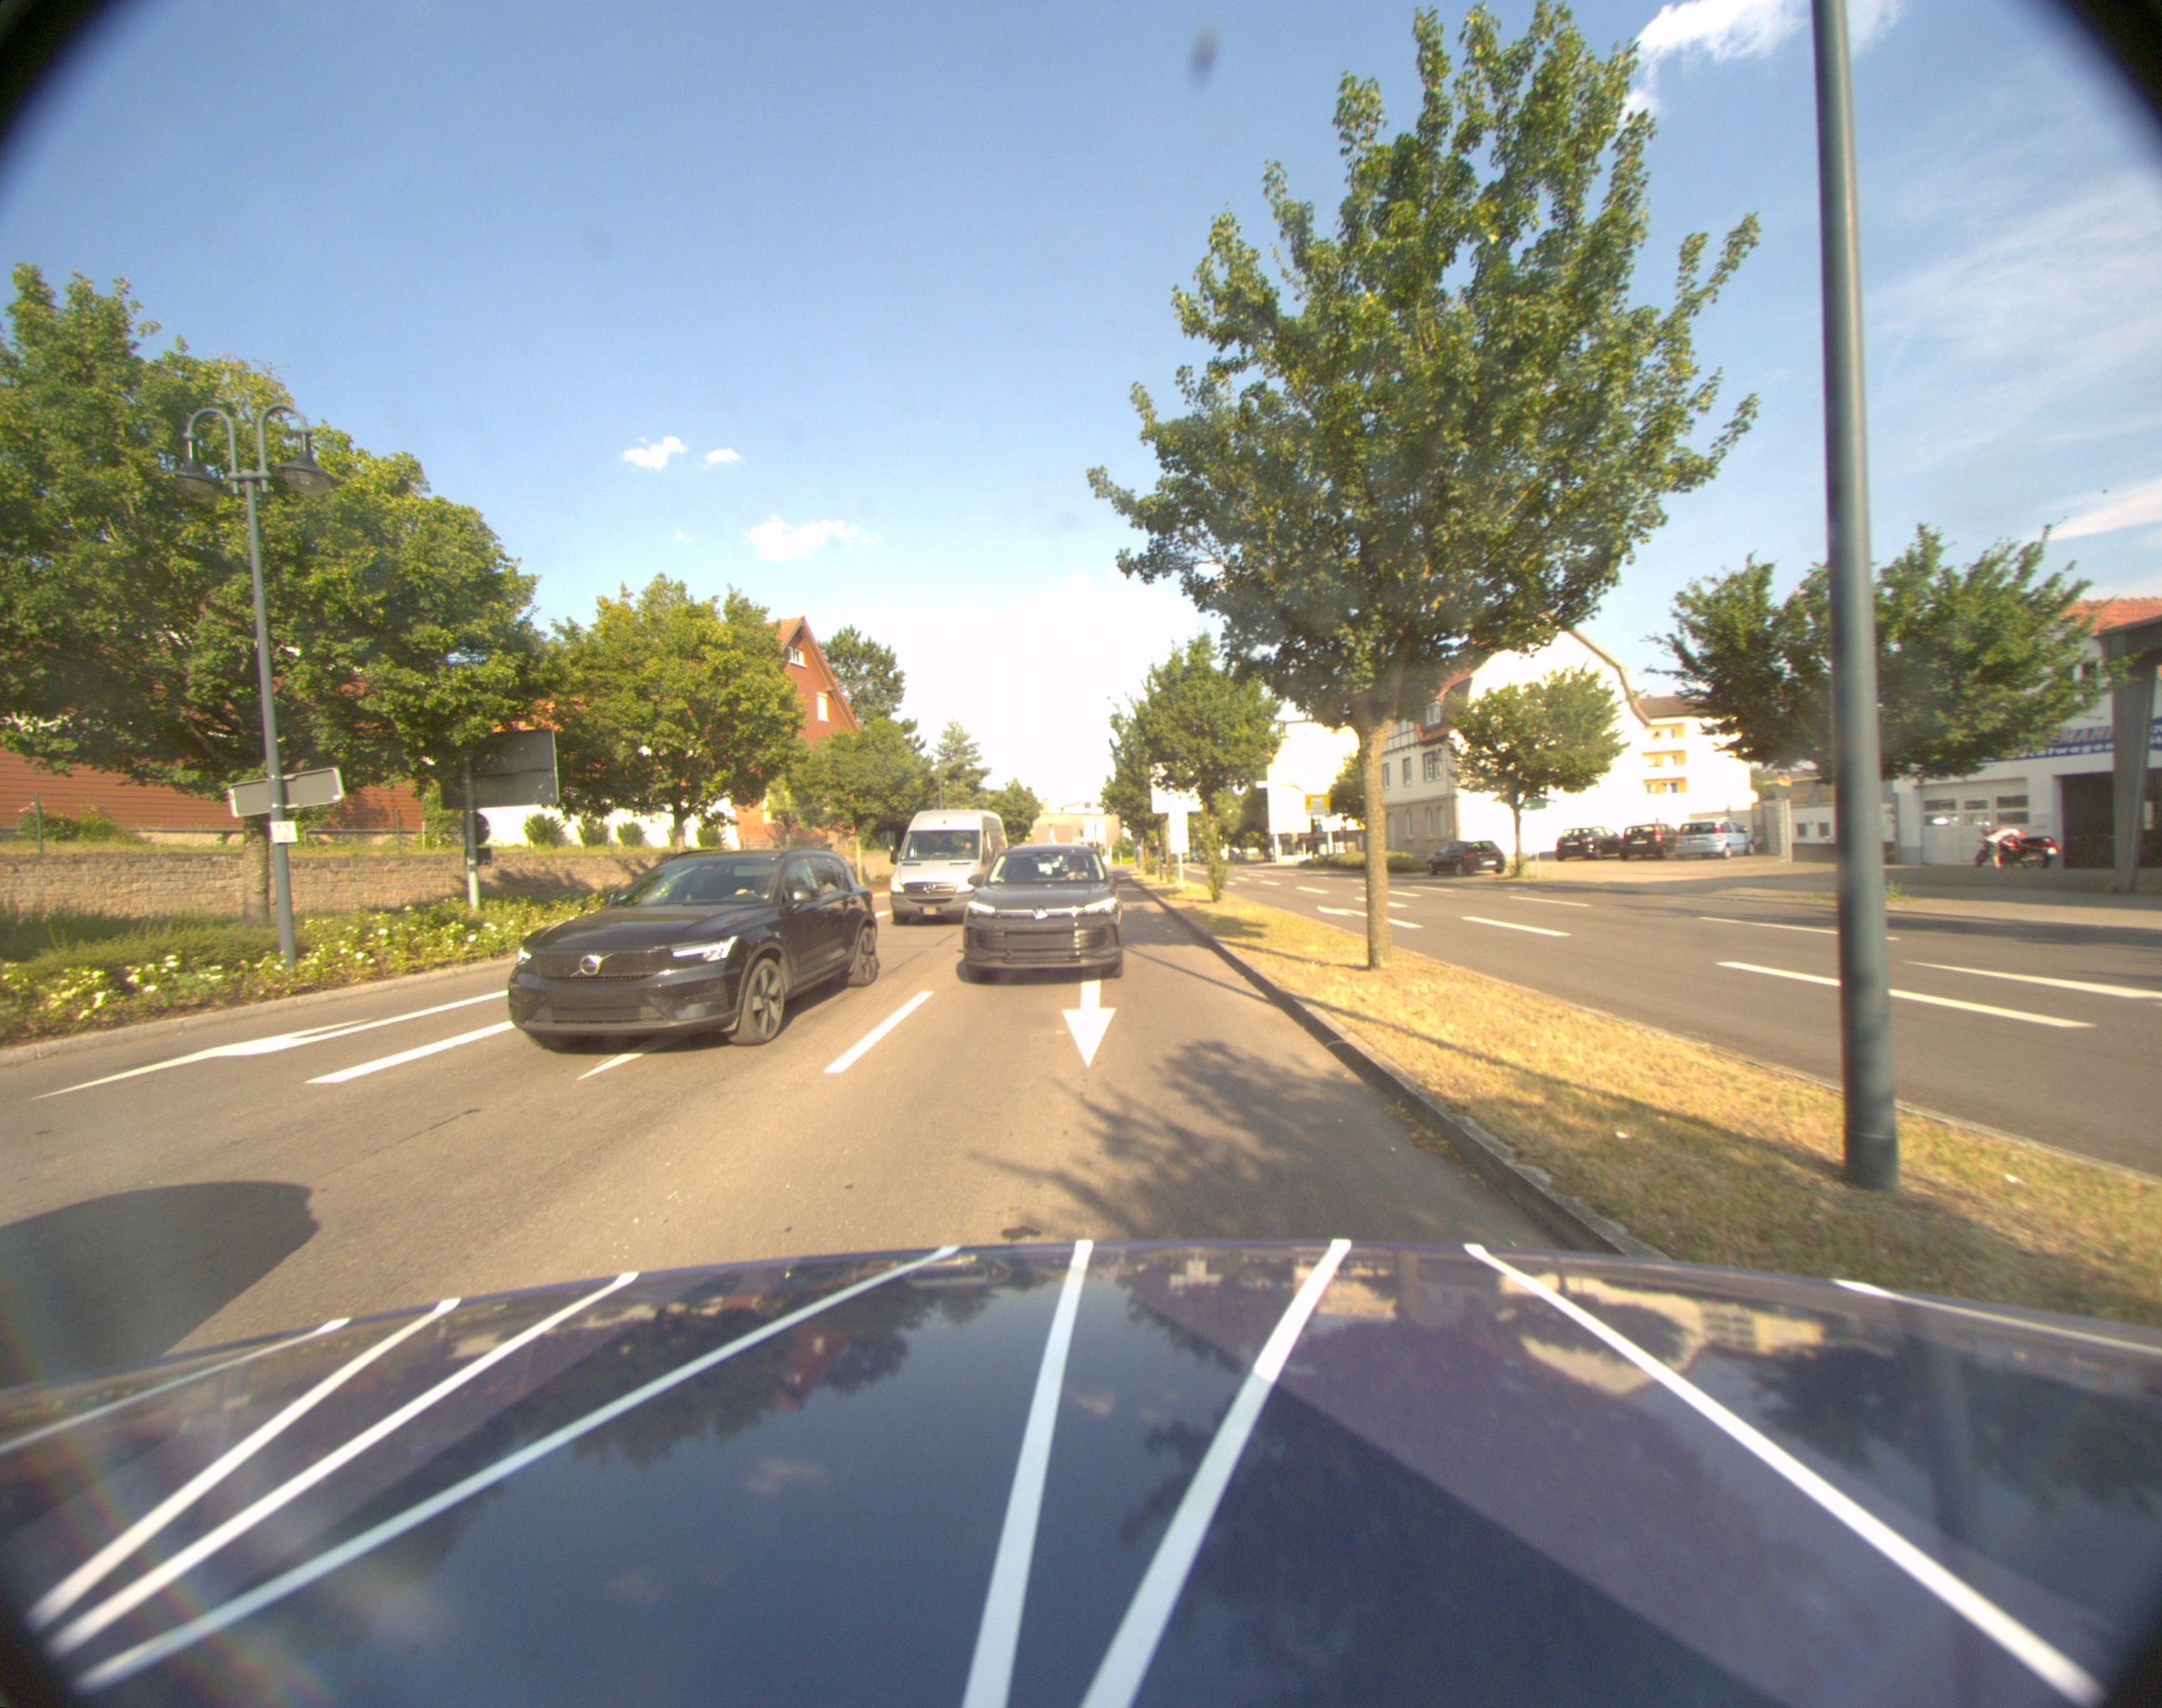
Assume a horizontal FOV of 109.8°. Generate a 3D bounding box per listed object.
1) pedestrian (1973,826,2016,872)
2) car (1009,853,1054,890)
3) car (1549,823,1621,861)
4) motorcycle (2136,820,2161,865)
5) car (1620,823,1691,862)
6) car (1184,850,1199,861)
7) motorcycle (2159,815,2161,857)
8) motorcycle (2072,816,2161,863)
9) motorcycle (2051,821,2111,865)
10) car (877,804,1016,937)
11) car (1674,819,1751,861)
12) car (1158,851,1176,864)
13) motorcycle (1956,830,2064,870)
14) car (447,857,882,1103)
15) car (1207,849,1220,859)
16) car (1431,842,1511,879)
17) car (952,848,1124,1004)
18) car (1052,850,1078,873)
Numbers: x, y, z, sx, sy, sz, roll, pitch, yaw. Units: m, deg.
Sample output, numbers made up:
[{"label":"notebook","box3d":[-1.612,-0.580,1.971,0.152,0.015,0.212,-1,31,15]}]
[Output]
[{"label":"pedestrian","box3d":[27.295,-0.151,22.710,0.596,1.332,0.584,-2,1,-7]},{"label":"car","box3d":[-2.357,0.818,36.875,1.768,1.582,4.056,-2,1,1]},{"label":"car","box3d":[22.999,-0.567,34.646,3.416,1.616,1.857,-3,1,-40]},{"label":"motorcycle","box3d":[32.732,-0.379,22.832,2.120,1.315,0.488,-2,0,-16]},{"label":"car","box3d":[24.641,-0.510,32.560,3.437,1.555,1.583,-2,1,-38]},{"label":"car","box3d":[21.451,0.232,147.140,1.816,2.002,4.006,-1,1,25]},{"label":"motorcycle","box3d":[35.135,-0.617,23.884,2.119,1.315,0.488,-2,0,-8]},{"label":"motorcycle","box3d":[30.529,-0.423,22.098,2.114,1.315,0.489,-2,0,22]},{"label":"motorcycle","box3d":[31.845,-0.356,24.186,2.120,1.315,0.488,-2,0,-19]},{"label":"car","box3d":[-3.033,0.298,18.905,2.040,2.643,6.649,-2,1,1]},{"label":"car","box3d":[24.702,-0.545,29.692,3.438,1.534,1.617,-2,1,-38]},{"label":"car","box3d":[13.290,0.560,117.121,1.814,1.861,4.005,-2,1,20]},{"label":"motorcycle","box3d":[27.769,-0.102,22.774,0.488,1.139,2.118,-2,0,-6]},{"label":"car","box3d":[-3.398,0.879,7.255,1.792,1.596,4.056,-2,1,1]},{"label":"car","box3d":[27.406,-0.025,156.813,1.996,2.002,4.005,-2,1,20]},{"label":"car","box3d":[16.033,0.227,31.428,1.672,1.310,3.432,-5,1,4]},{"label":"car","box3d":[-0.413,0.752,10.077,1.768,1.582,4.056,-2,1,1]},{"label":"car","box3d":[-1.168,0.528,58.256,1.768,1.582,4.056,-2,1,1]}]
